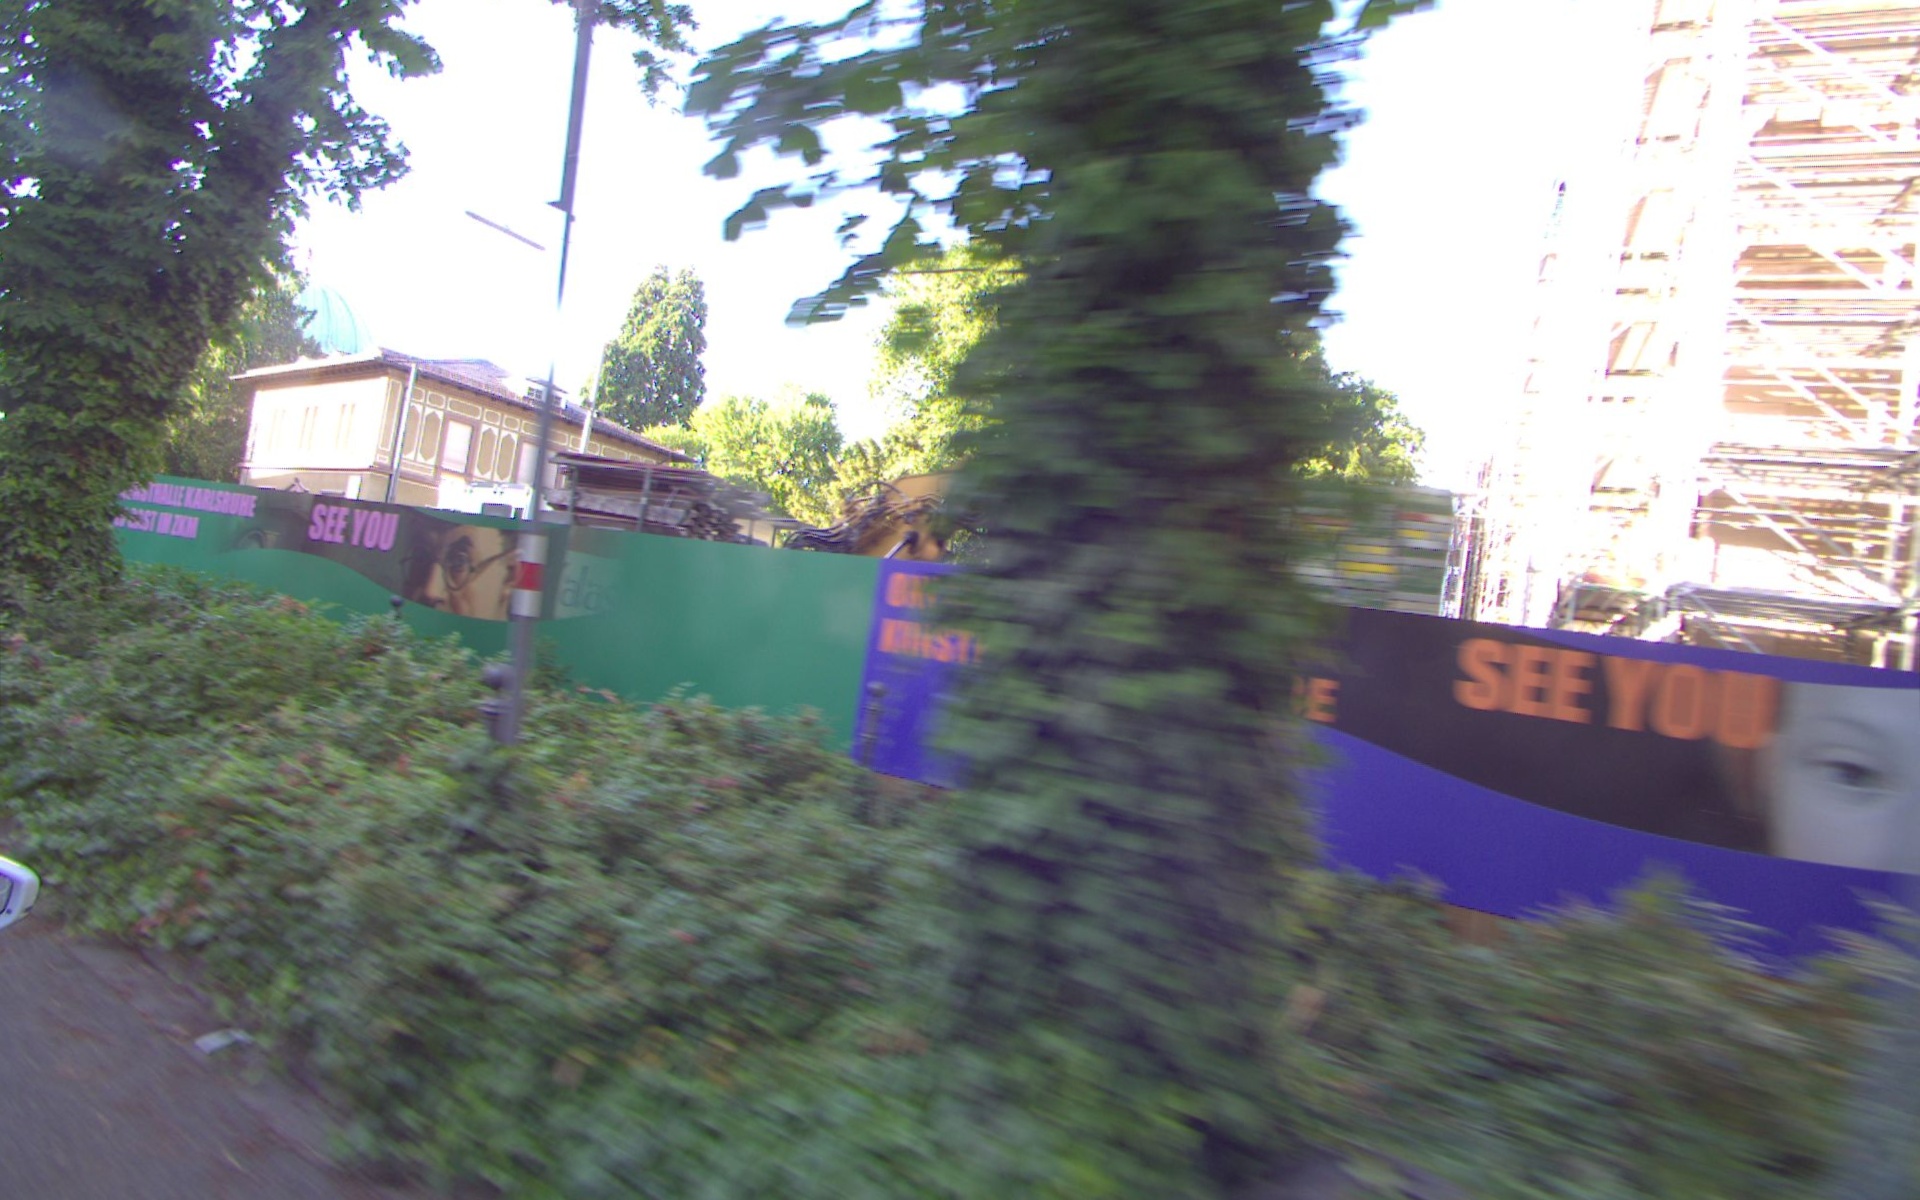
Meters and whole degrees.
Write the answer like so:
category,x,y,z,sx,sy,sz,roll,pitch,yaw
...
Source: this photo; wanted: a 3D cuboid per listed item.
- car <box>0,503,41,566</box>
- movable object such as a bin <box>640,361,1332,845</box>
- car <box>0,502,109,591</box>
category,x,y,z,sx,sy,sz,roll,pitch,yaw
car,-26.299,-1.934,26.793,3.996,1.478,1.844,6,-5,37
movable object such as a bin,0.112,-0.186,12.932,7.775,4.590,3.314,7,-2,32
car,-18.864,-1.142,20.406,1.840,1.497,4.021,9,-2,-34
